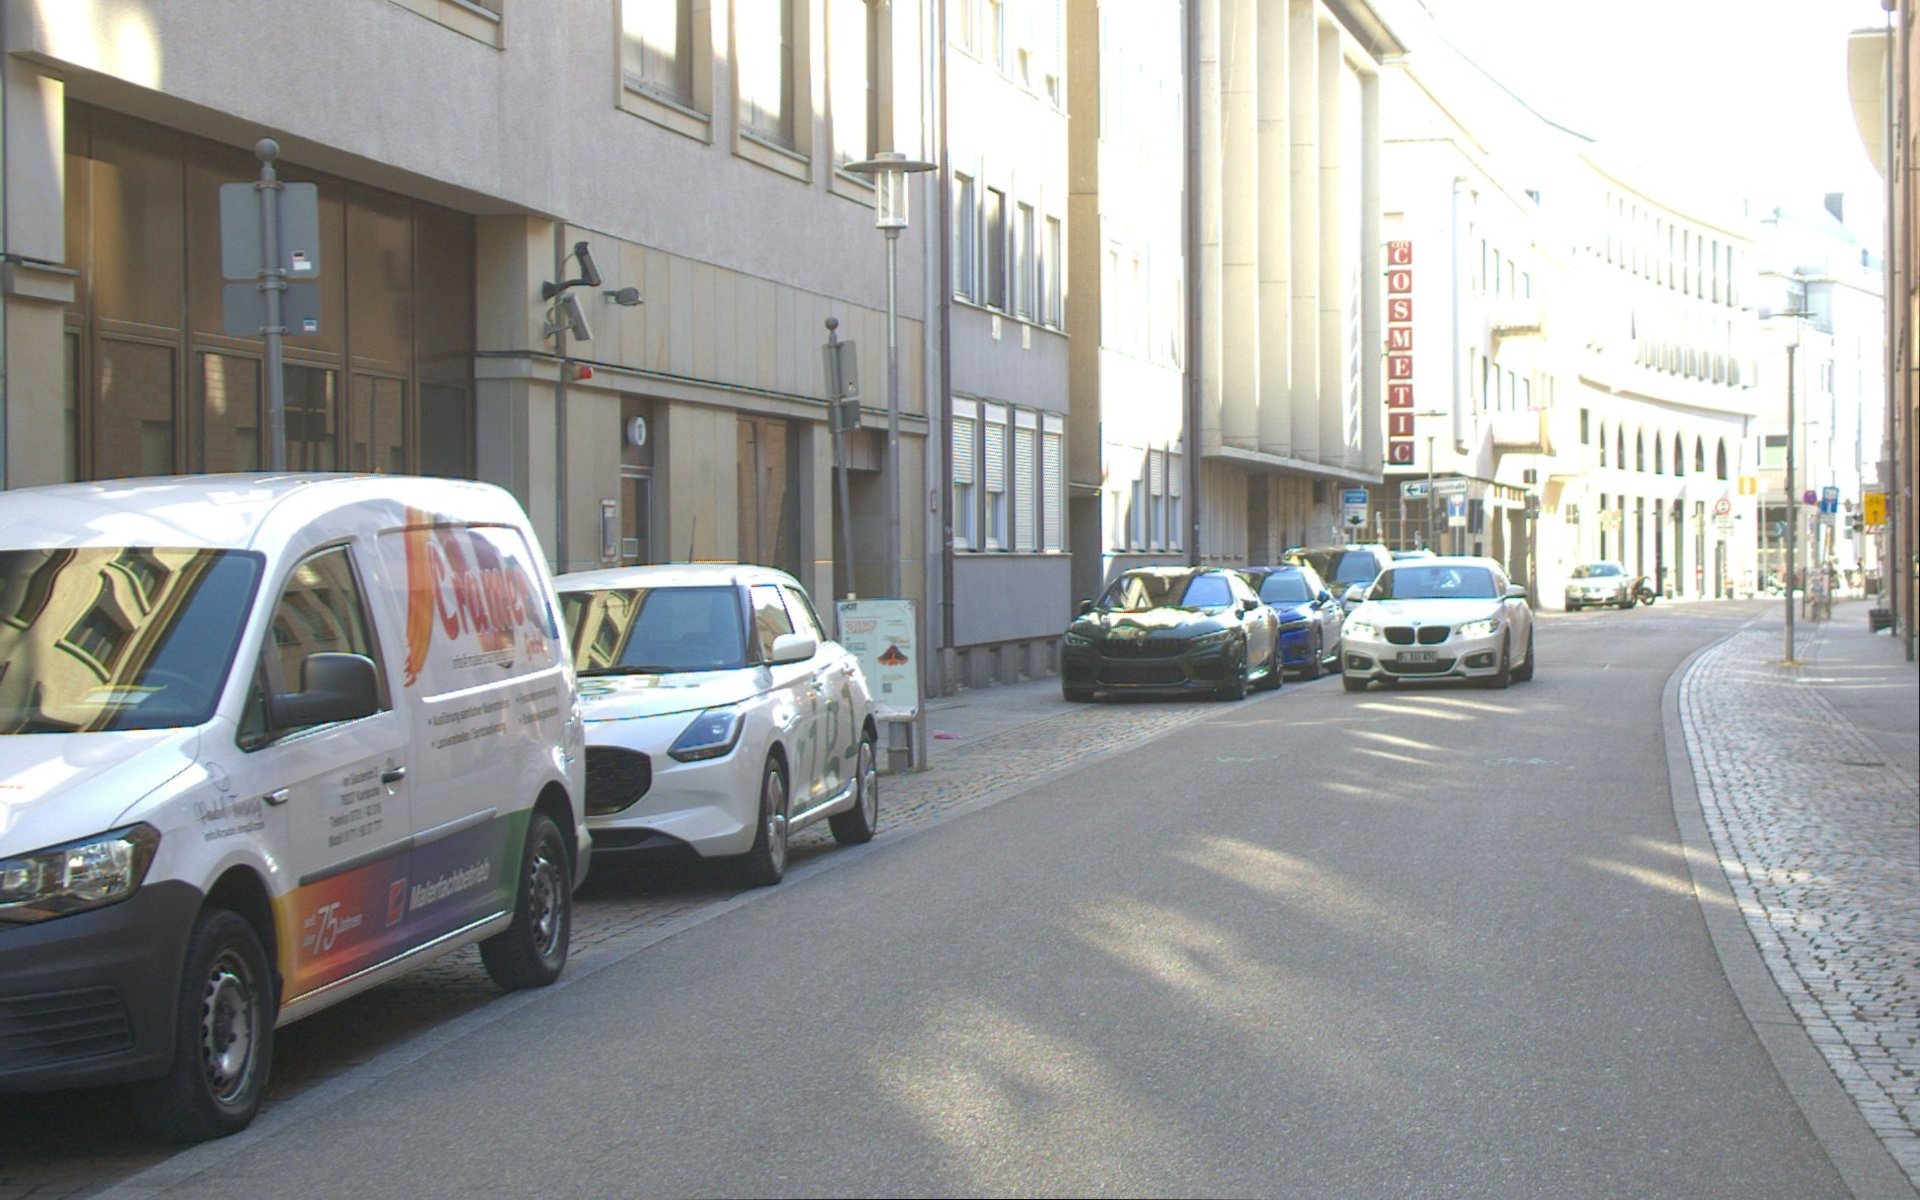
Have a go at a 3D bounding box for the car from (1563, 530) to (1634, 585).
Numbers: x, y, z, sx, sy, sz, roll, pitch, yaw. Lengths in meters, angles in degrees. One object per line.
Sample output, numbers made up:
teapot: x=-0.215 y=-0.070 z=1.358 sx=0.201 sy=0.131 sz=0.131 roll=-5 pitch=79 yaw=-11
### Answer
car: x=18.697 y=-1.244 z=100.578 sx=1.738 sy=1.600 sz=3.530 roll=0 pitch=1 yaw=15

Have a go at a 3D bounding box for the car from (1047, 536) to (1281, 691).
car: x=2.286 y=0.111 z=37.271 sx=1.891 sy=1.525 sz=4.726 roll=-2 pitch=0 yaw=11

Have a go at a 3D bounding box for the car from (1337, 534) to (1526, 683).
car: x=5.254 y=0.067 z=37.901 sx=1.715 sy=1.512 sz=4.158 roll=-2 pitch=0 yaw=12

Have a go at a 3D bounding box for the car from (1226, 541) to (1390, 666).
car: x=5.051 y=0.022 z=49.422 sx=1.891 sy=1.670 sz=4.551 roll=-2 pitch=0 yaw=11

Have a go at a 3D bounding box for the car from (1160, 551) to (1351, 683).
car: x=3.744 y=0.176 z=42.934 sx=1.891 sy=1.525 sz=4.338 roll=-2 pitch=0 yaw=11

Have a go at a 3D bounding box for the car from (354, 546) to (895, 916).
car: x=-1.500 y=0.553 z=16.777 sx=1.670 sy=1.517 sz=3.774 roll=-3 pitch=0 yaw=9

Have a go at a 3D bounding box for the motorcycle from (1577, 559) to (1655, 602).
motorcycle: x=21.238 y=-0.627 z=111.267 sx=2.392 sy=1.313 sz=0.861 roll=-2 pitch=0 yaw=15

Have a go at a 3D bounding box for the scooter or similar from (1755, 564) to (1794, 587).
scooter or similar: x=34.233 y=-1.039 z=144.524 sx=0.526 sy=0.925 sz=2.222 roll=0 pitch=1 yaw=45

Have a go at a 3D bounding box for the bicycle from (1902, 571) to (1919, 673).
bicycle: x=10.683 y=0.232 z=37.357 sx=0.550 sy=1.099 sz=1.981 roll=-4 pitch=0 yaw=9

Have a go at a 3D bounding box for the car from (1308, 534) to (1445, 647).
car: x=6.841 y=-0.174 z=56.149 sx=1.891 sy=1.736 sz=4.388 roll=-2 pitch=0 yaw=11

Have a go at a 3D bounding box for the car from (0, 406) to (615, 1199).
car: x=-2.620 y=0.484 z=10.527 sx=1.900 sy=1.851 sz=4.732 roll=-3 pitch=0 yaw=9

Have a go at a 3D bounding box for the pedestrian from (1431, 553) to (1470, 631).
pedestrian: x=10.253 y=-0.163 z=71.818 sx=0.644 sy=1.620 sz=0.457 roll=-1 pitch=0 yaw=-27

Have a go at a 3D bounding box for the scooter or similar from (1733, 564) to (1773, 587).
scooter or similar: x=32.493 y=-1.004 z=140.812 sx=0.526 sy=0.925 sz=2.222 roll=0 pitch=1 yaw=45
